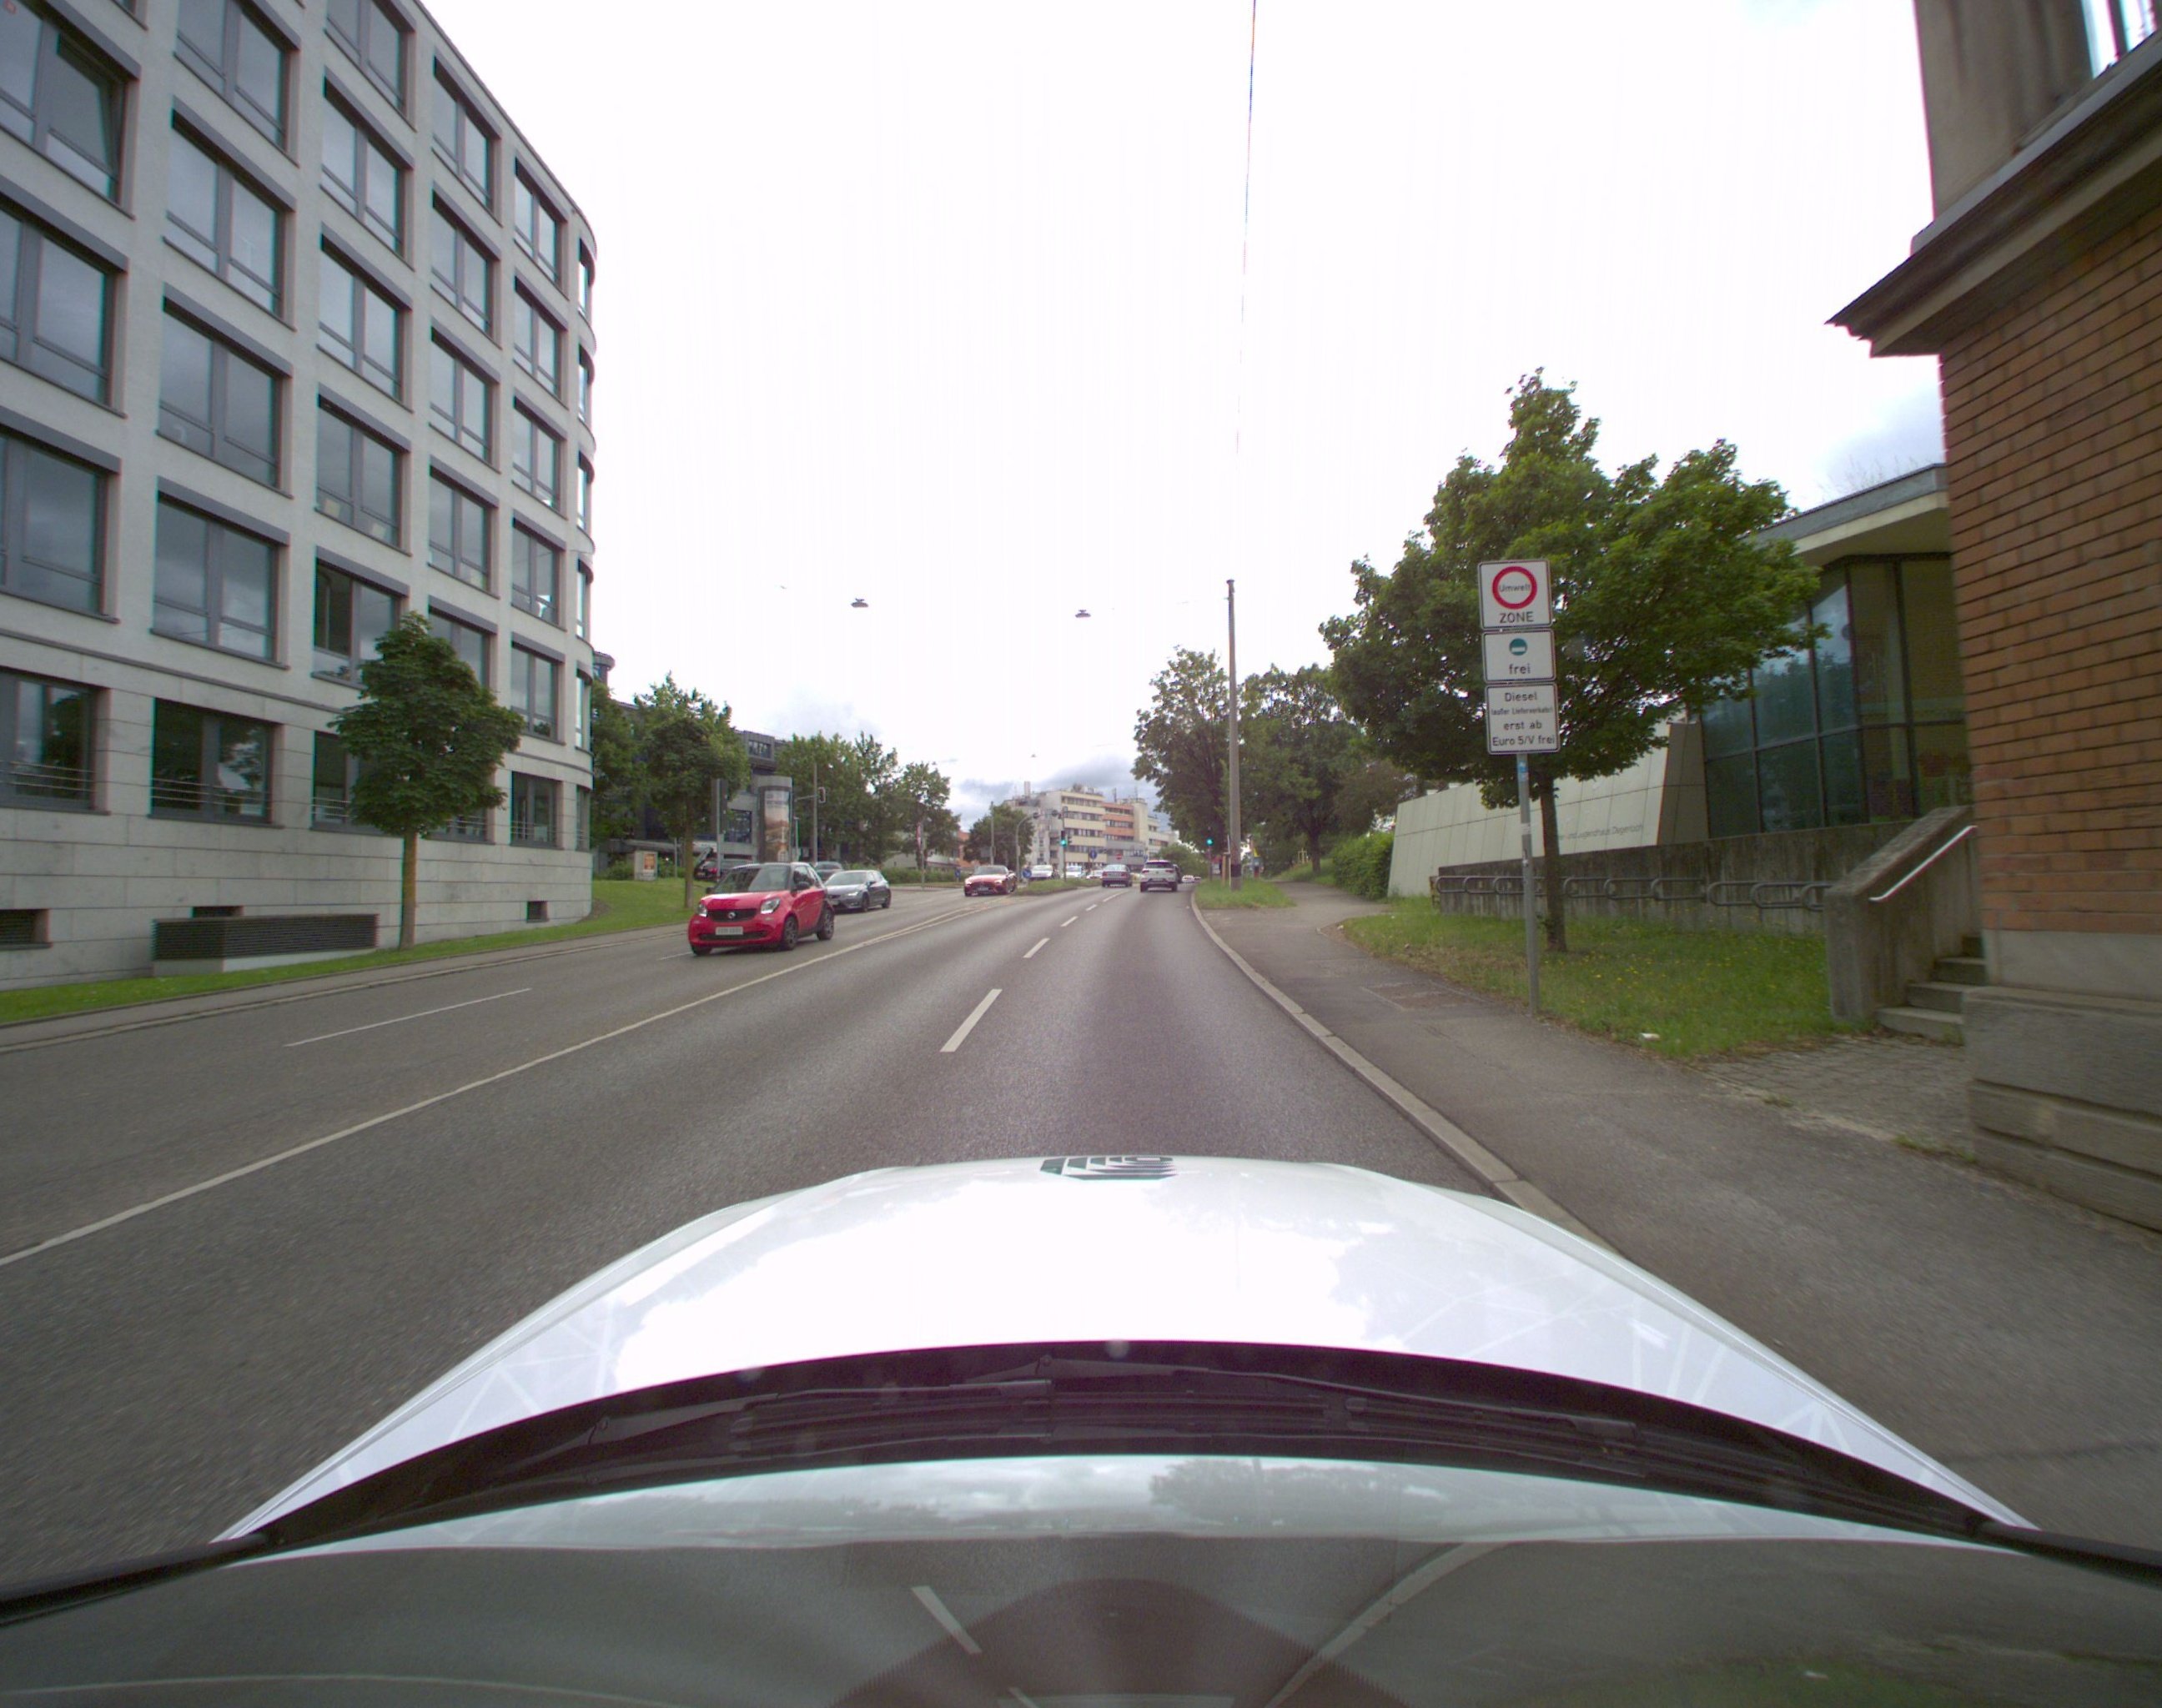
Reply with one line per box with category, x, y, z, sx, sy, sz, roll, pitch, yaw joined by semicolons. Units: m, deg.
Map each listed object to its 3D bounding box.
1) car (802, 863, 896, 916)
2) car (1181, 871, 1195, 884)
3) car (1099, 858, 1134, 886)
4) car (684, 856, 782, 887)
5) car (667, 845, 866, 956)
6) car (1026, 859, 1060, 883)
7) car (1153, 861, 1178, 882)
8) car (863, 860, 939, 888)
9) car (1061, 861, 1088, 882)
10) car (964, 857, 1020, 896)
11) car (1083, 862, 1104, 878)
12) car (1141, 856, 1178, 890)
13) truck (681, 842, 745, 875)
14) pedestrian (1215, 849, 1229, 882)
car;-7.773;1.140;27.712;1.740;1.494;4.210;-4;0;2
car;14.230;3.068;108.765;1.761;1.570;4.292;-1;0;6
car;2.246;1.083;50.415;1.689;1.516;3.746;-1;1;9
car;-17.465;0.846;41.075;1.759;1.463;4.467;0;0;27
car;-5.749;0.756;15.576;1.862;1.702;4.431;-4;0;2
car;-2.494;1.115;54.275;1.769;1.481;3.985;-1;0;5
car;6.566;1.370;63.639;1.693;1.516;3.495;-1;-1;2
car;-10.618;1.134;48.194;4.023;1.544;1.759;0;-1;-45
car;-0.487;1.405;66.408;1.769;1.565;4.005;-1;0;5
car;-4.089;0.994;38.161;1.763;1.570;4.289;-4;0;4
car;1.259;1.535;80.884;1.769;1.481;4.487;-2;0;5
car;3.996;0.918;41.158;1.690;1.548;3.744;2;1;7
truck;-28.108;0.318;62.307;1.975;2.387;4.024;0;0;27
pedestrian;7.997;0.640;46.148;0.640;1.856;0.673;-1;-1;2
